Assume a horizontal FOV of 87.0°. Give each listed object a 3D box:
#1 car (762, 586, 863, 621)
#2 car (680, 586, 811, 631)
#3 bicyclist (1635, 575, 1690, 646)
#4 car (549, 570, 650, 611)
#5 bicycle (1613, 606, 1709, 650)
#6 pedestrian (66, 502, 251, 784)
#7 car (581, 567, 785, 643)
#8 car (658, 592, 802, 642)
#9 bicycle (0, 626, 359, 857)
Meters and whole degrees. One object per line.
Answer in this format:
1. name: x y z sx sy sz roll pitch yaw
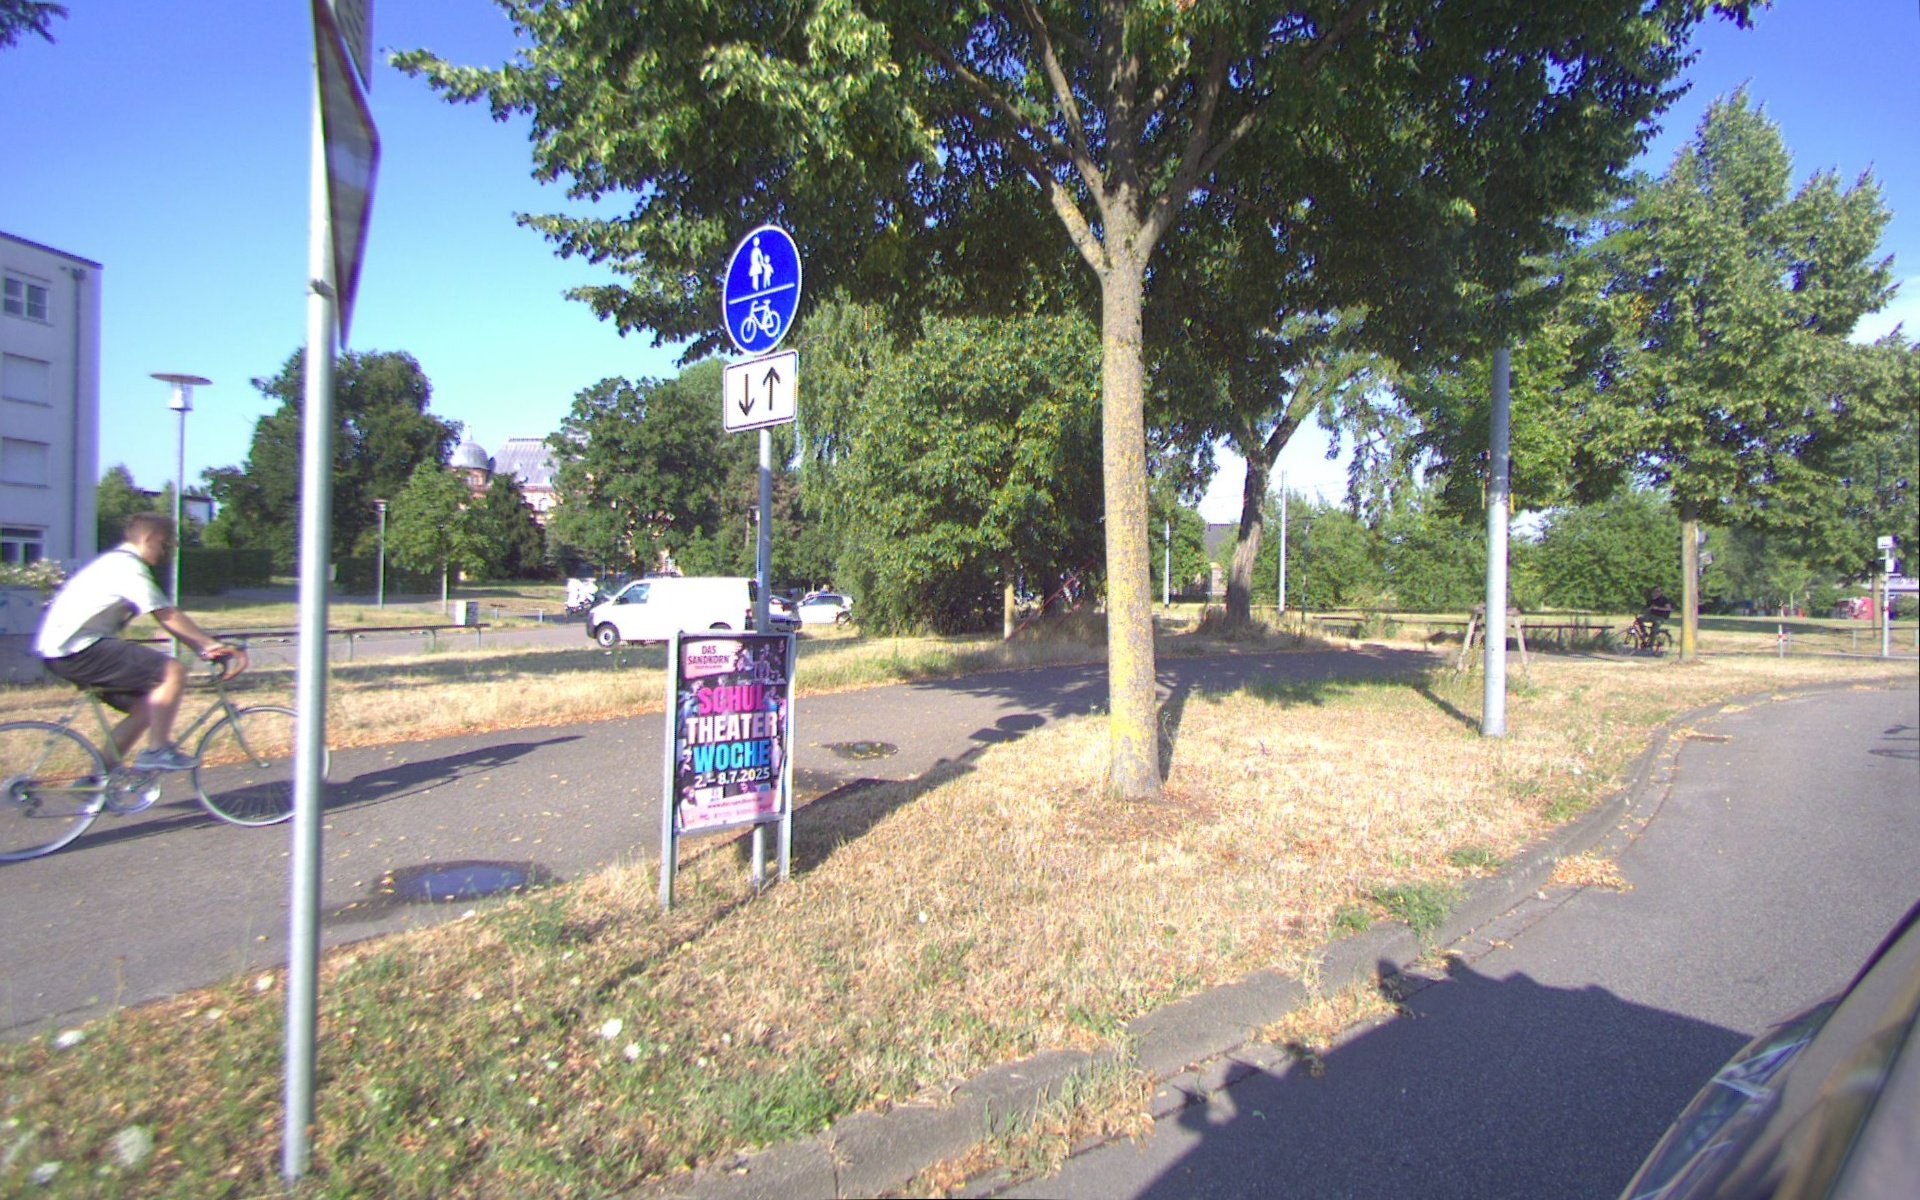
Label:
1. car: -6.263 0.112 43.161 3.935 1.415 1.851 1 1 10
2. car: -7.157 0.261 33.968 3.934 1.461 1.866 0 0 9
3. bicyclist: 18.555 0.271 26.730 0.920 1.823 0.728 0 0 -1
4. car: -16.484 -0.433 46.355 3.932 1.816 1.889 1 1 8
5. bicycle: 18.514 0.740 26.738 2.084 1.137 0.641 0 0 -1
6. pedestrian: -4.383 0.200 5.537 0.754 1.408 0.652 -1 2 -42
7. car: -7.792 0.130 28.741 5.133 2.039 2.264 0 0 9
8. car: -7.051 0.484 31.221 3.934 1.461 1.866 0 0 9
9. bicycle: -4.406 0.707 5.509 1.881 1.068 0.533 0 2 -43
